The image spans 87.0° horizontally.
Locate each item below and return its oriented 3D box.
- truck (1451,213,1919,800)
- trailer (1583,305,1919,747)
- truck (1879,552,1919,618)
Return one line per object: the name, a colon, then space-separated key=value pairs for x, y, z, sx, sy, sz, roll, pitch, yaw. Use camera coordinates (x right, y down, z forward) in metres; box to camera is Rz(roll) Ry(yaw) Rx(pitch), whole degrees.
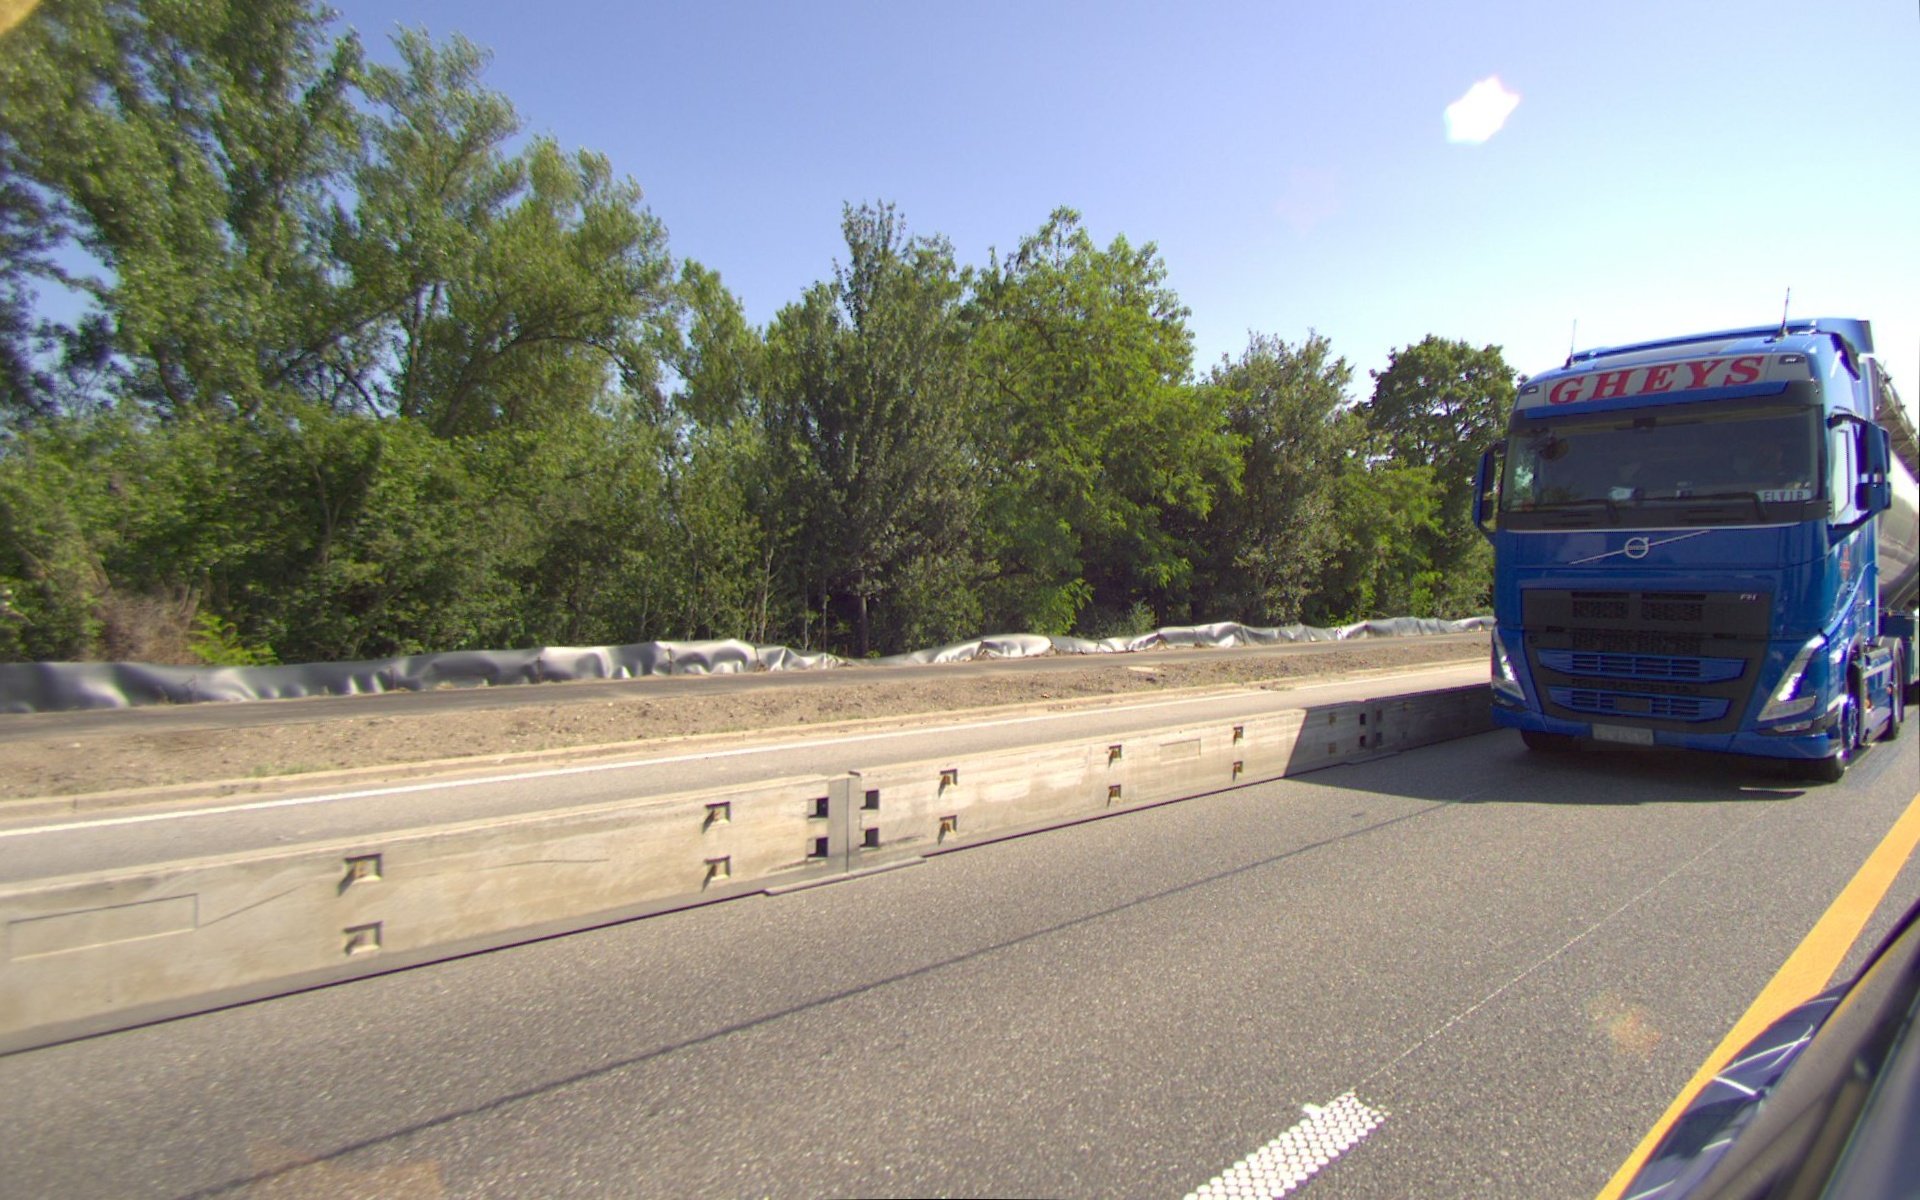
truck: x=8.123 y=-0.716 z=10.601 sx=7.174 sy=4.152 sz=2.699 roll=0 pitch=3 yaw=-42
trailer: x=12.686 y=-0.765 z=14.790 sx=12.400 sy=4.188 sz=2.698 roll=0 pitch=3 yaw=-43
truck: x=61.253 y=-0.933 z=65.191 sx=2.854 sy=4.033 sz=8.532 roll=4 pitch=3 yaw=42
